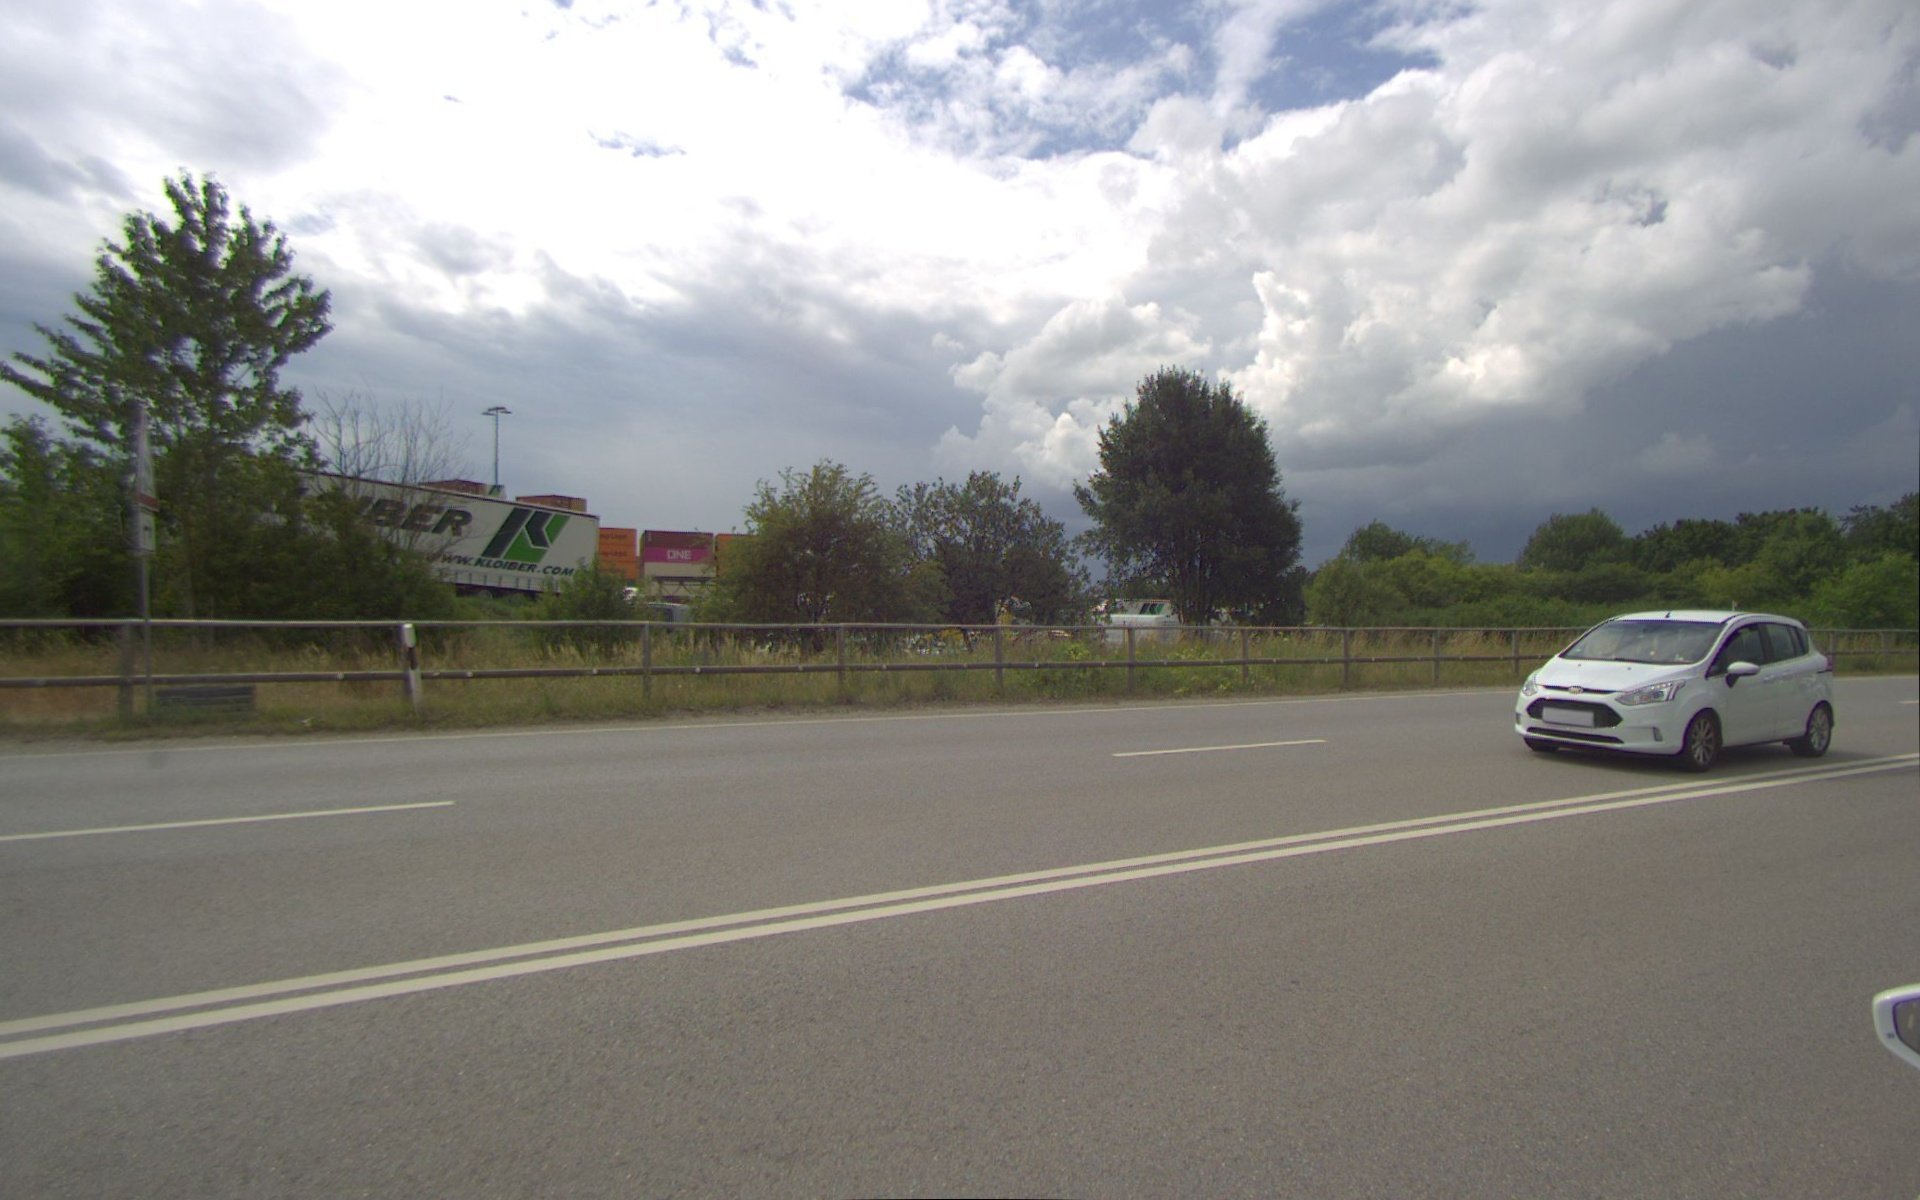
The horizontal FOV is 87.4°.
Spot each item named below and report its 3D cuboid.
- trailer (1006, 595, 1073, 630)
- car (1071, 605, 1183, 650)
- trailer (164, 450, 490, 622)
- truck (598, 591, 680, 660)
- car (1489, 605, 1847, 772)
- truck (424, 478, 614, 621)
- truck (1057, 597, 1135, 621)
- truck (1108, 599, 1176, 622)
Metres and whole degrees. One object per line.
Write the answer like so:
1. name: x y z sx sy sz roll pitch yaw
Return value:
1. trailer: 6.296 1.020 79.283 5.004 2.695 1.986 1 0 -27
2. car: 7.280 1.152 44.080 1.987 1.758 4.523 0 1 -45
3. trailer: -21.020 -1.858 34.022 2.764 5.063 8.945 2 0 39
4. truck: -21.034 1.620 66.068 2.156 4.350 5.428 1 0 23
5. car: 7.837 0.862 11.054 3.952 1.538 1.722 1 -1 -30
6. truck: -16.998 -1.788 39.075 2.761 5.063 6.163 2 0 39
7. truck: 12.713 0.870 93.875 7.024 2.040 1.991 2 0 -19
8. truck: 17.344 1.020 95.515 6.135 2.040 1.991 2 0 -19
